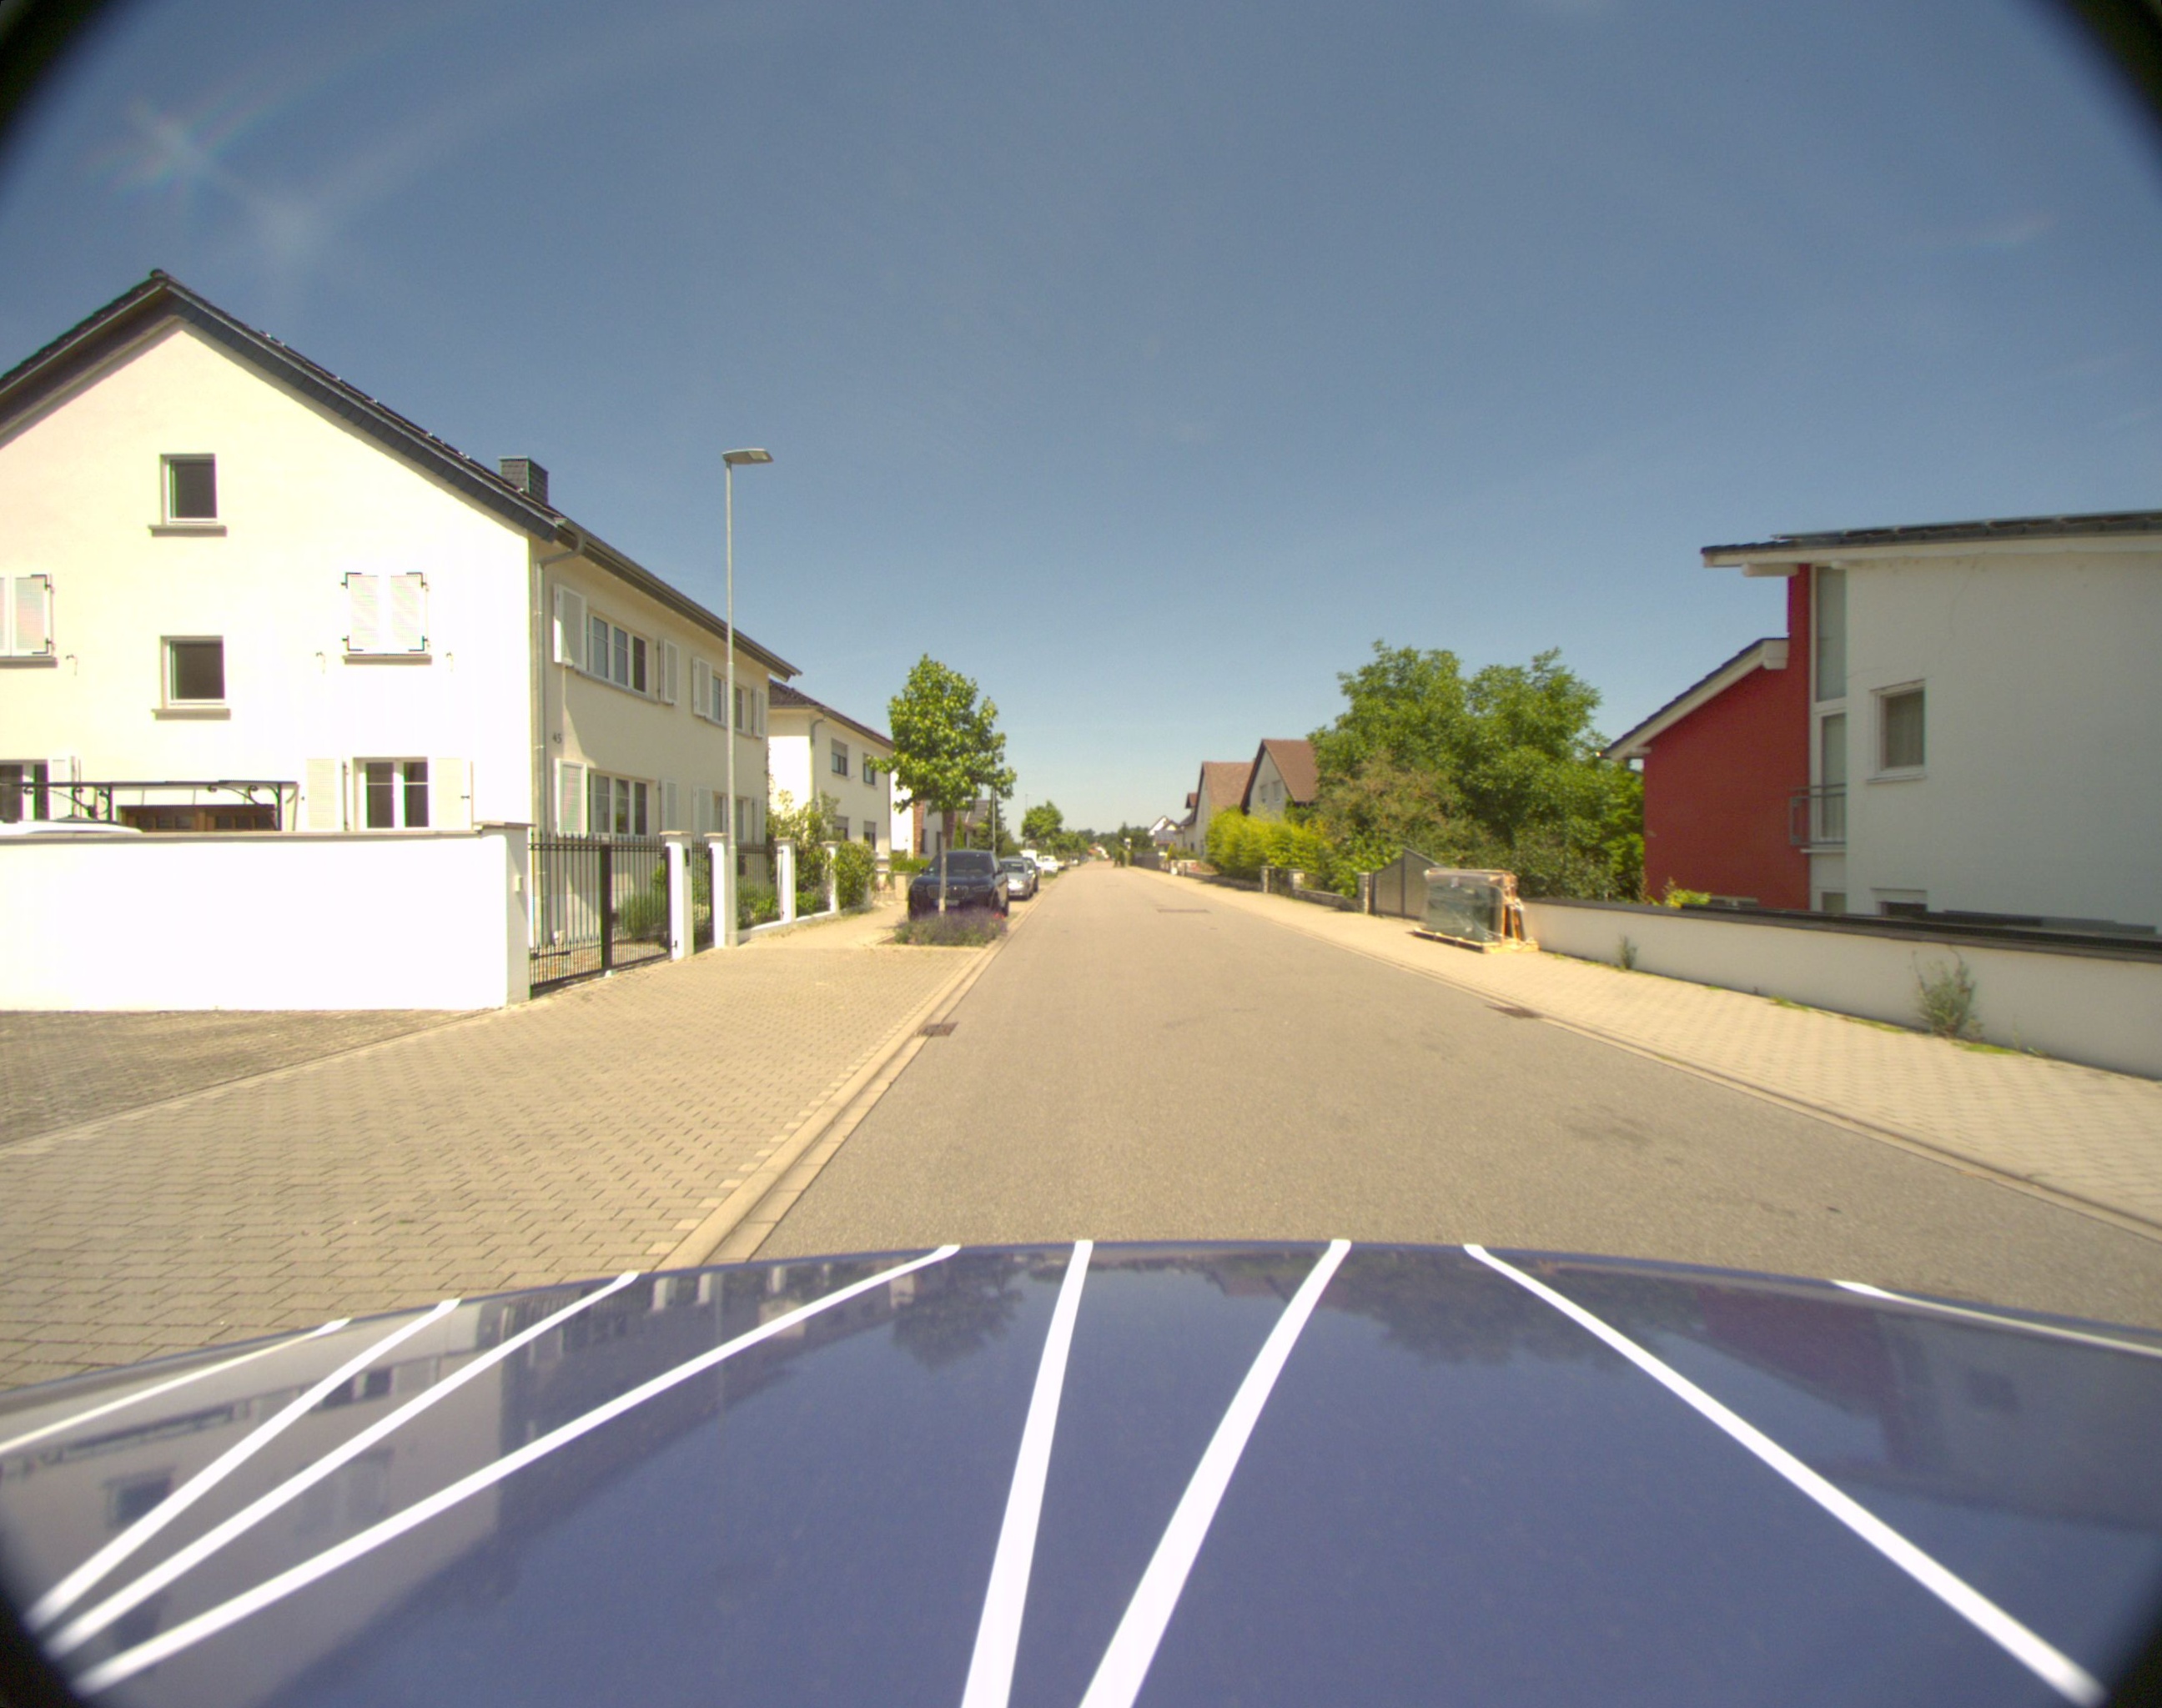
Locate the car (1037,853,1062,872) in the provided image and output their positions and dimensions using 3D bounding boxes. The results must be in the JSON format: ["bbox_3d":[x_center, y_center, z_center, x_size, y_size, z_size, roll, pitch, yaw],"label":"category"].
[{"bbox_3d":[-2.476,0.654,60.082,1.819,1.412,3.867,0,0,-1],"label":"car"}]

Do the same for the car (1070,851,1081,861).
[{"bbox_3d":[-0.884,0.368,129.111,1.597,1.630,3.803,0,0,4],"label":"car"}]

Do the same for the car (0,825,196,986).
[{"bbox_3d":[-13.641,0.592,9.331,3.395,1.802,1.771,0,0,-1],"label":"car"}]

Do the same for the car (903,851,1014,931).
[{"bbox_3d":[-2.724,0.776,17.913,1.819,1.646,4.564,0,0,0],"label":"car"}]

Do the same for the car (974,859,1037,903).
[{"bbox_3d":[-2.612,0.911,27.237,1.819,1.412,4.093,0,0,0],"label":"car"}]

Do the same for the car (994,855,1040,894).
[{"bbox_3d":[-2.702,0.815,32.799,1.746,1.524,4.447,-1,0,-2],"label":"car"}]

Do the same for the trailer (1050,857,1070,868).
[{"bbox_3d":[-2.036,0.856,75.042,1.792,1.052,2.899,0,0,1],"label":"trailer"}]
